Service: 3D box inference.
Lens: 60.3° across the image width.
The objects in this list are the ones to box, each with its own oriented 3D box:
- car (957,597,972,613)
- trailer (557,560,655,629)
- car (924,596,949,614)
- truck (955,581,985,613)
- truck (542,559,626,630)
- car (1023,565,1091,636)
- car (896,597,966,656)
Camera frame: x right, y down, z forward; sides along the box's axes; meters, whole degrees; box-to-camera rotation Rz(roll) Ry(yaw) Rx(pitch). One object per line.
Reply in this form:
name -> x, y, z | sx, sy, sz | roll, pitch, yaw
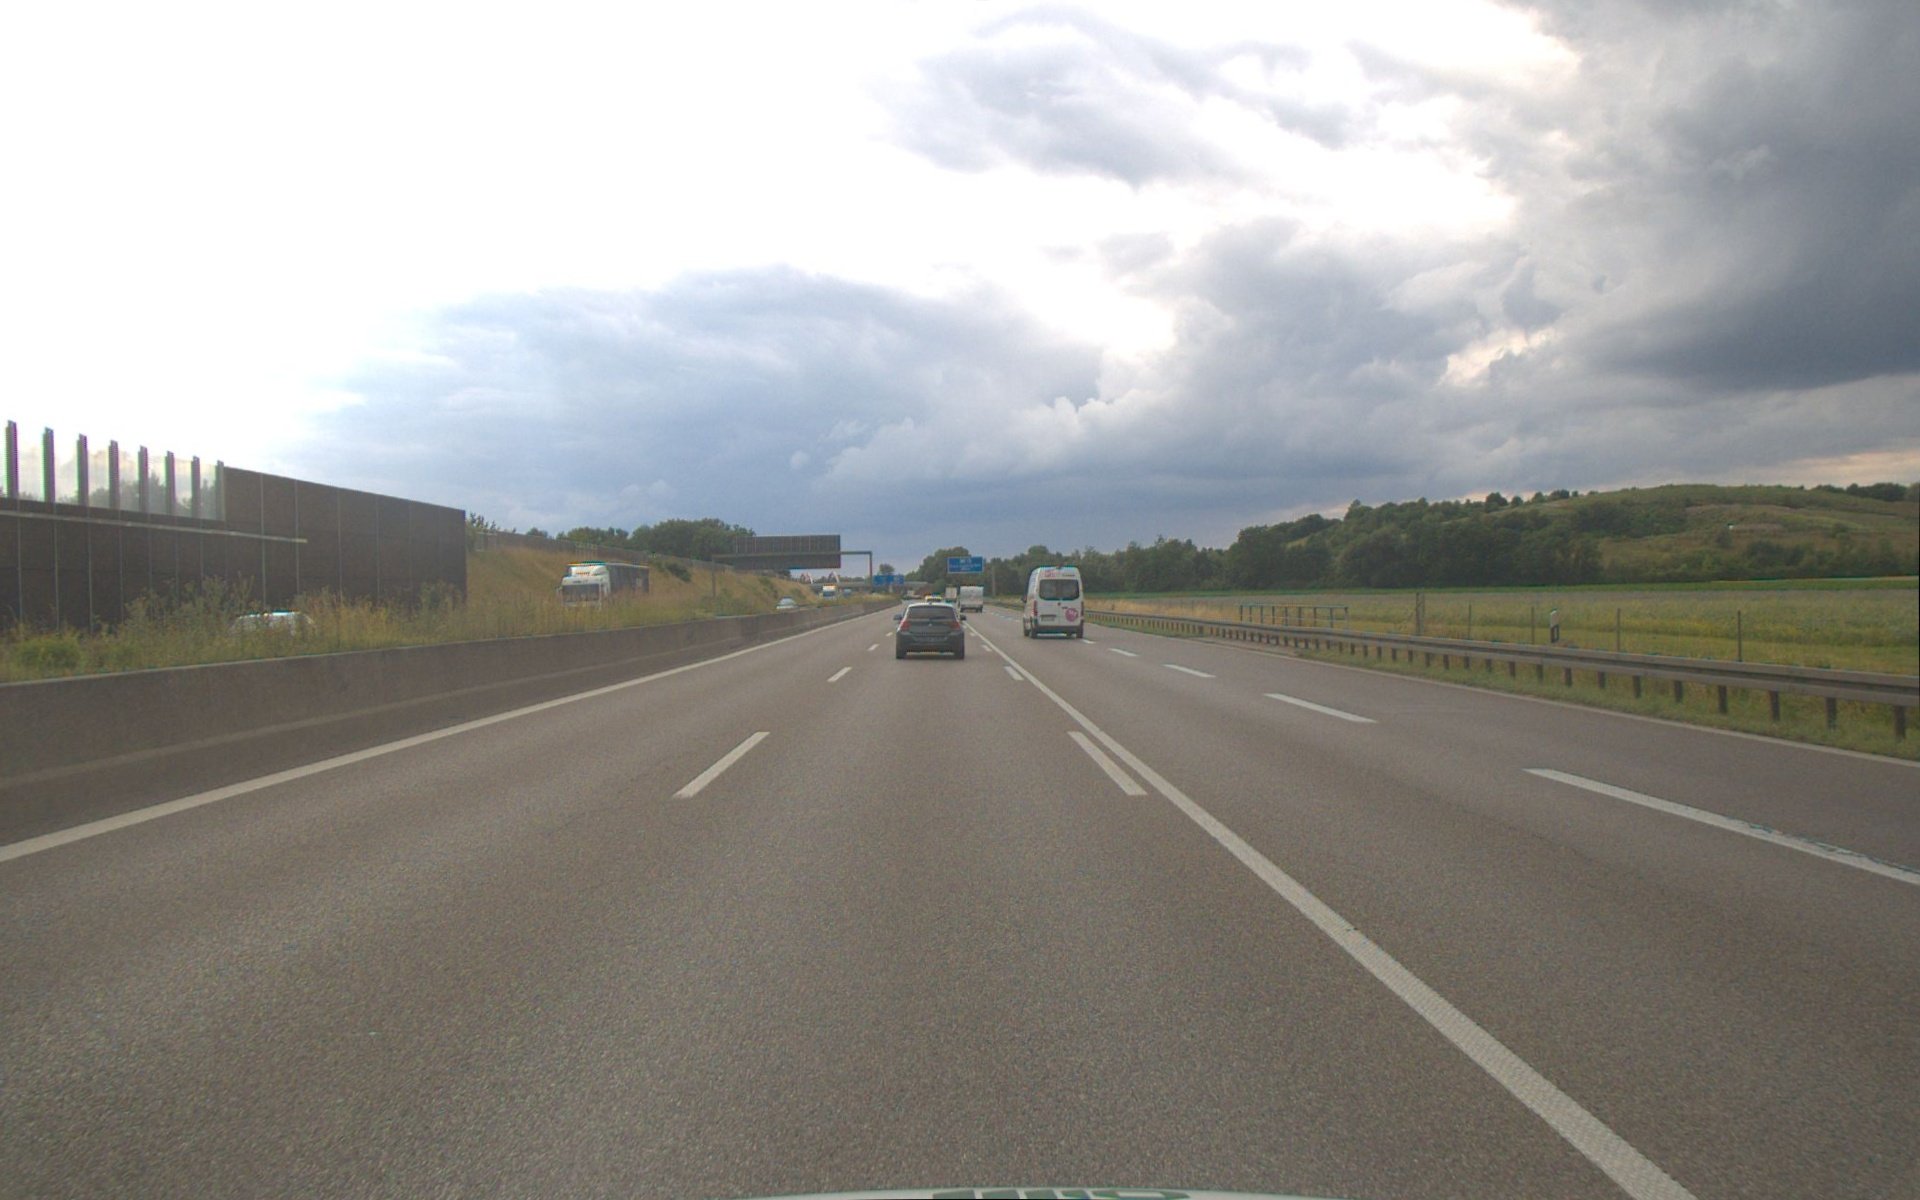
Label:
car -> 0.659, 0.692, 226.714 | 1.953, 2.049, 3.999 | 0, 0, -1
trailer -> -22.386, -0.348, 105.441 | 3.597, 4.050, 12.676 | 1, 0, -1
car -> -1.872, 0.396, 130.293 | 1.953, 1.321, 3.999 | -2, 0, -2
truck -> 0.934, -0.303, 168.372 | 2.655, 3.016, 12.444 | 1, 0, -1
truck -> -22.318, -0.332, 98.490 | 3.593, 4.017, 6.012 | 1, 0, -1
car -> 3.705, -0.009, 64.489 | 2.176, 2.613, 6.255 | 0, 0, -1
car -> -0.750, 0.653, 42.740 | 1.708, 1.413, 3.999 | 0, 0, -1
